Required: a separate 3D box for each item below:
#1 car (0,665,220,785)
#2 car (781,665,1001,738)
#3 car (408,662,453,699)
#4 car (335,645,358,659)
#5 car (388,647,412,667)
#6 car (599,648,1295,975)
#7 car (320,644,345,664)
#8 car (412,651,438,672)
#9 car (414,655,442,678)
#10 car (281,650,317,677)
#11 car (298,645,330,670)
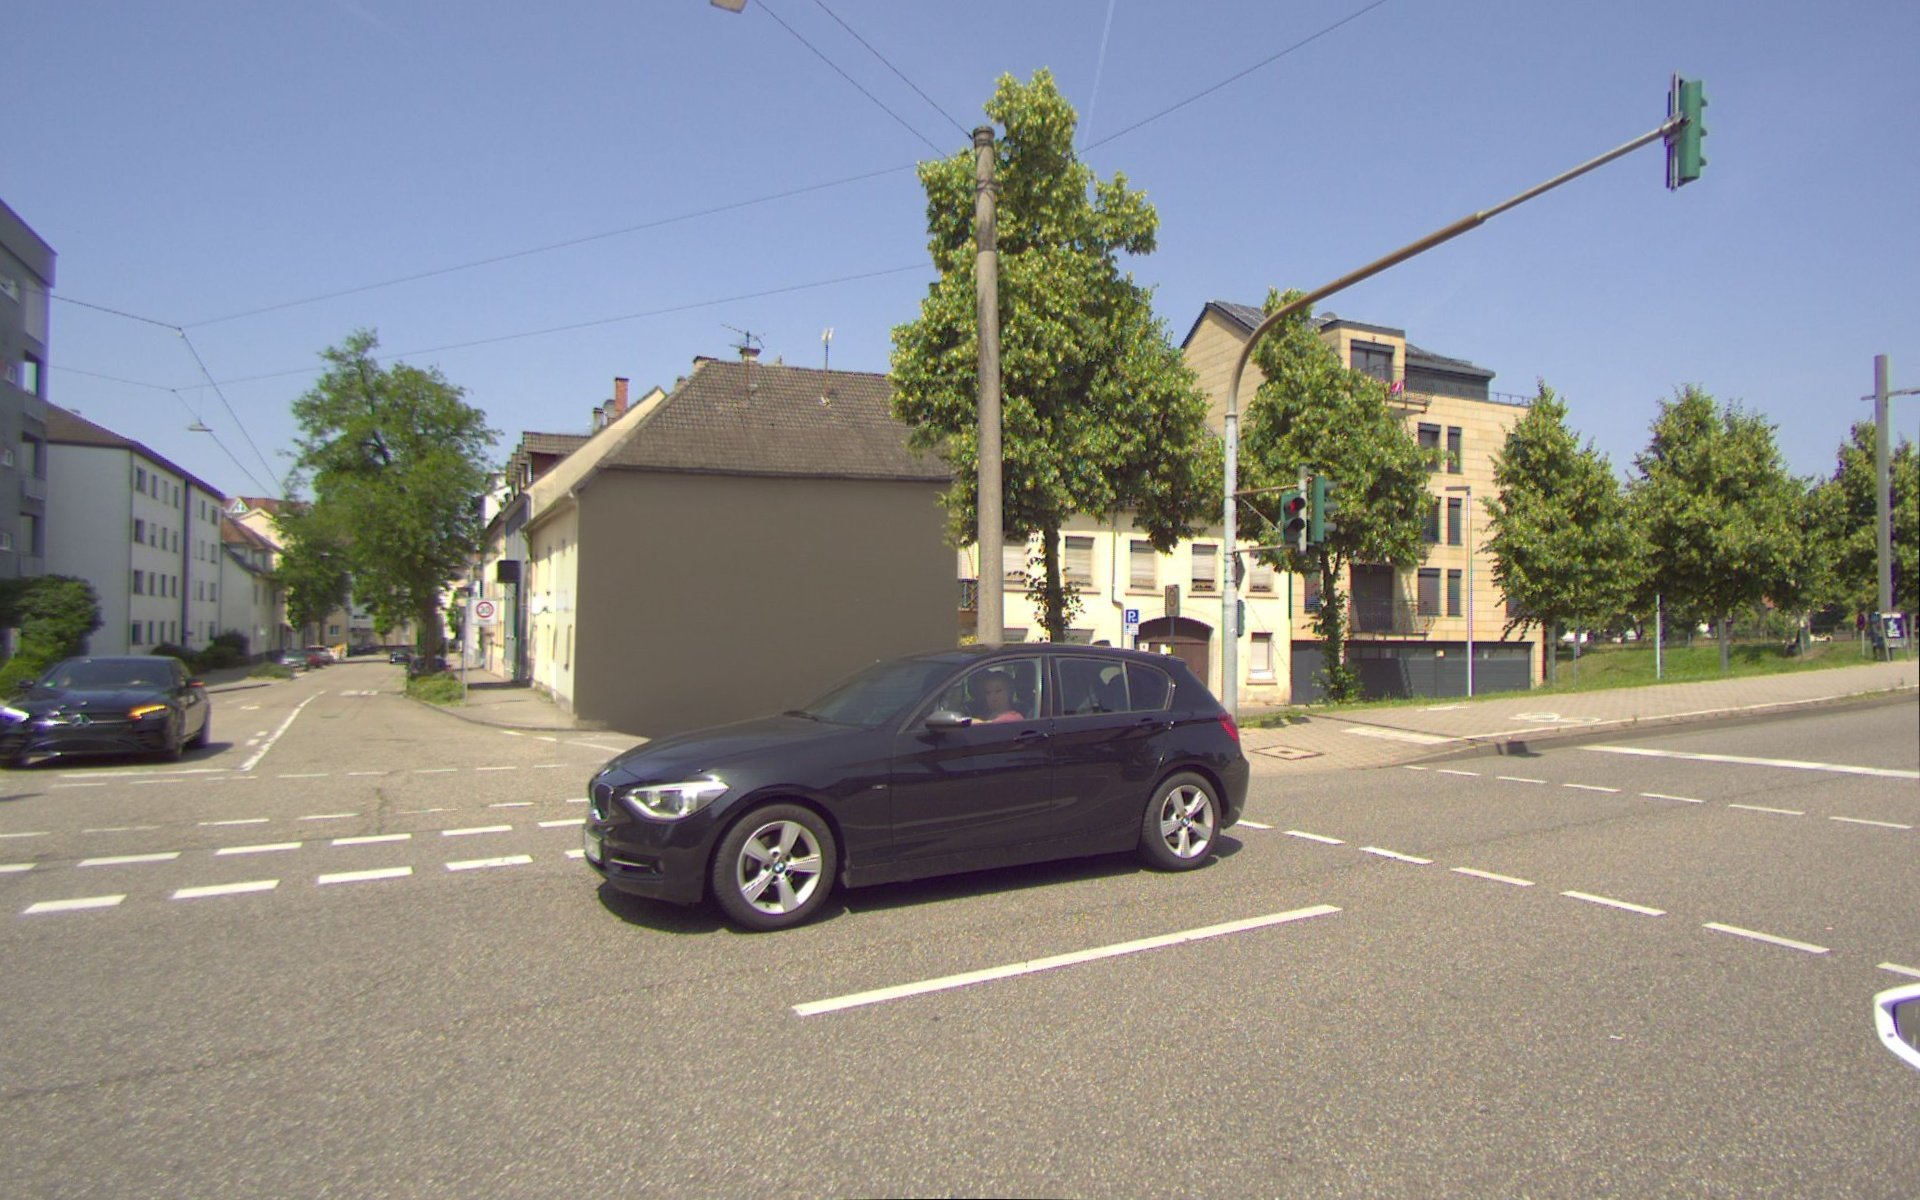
[{"bbox_3d":[-12.219,1.687,14.550,2.094,1.419,4.580,1,-4,-33],"label":"car"},{"bbox_3d":[-1.703,2.472,25.102,5.210,1.649,1.812,1,-4,-23],"label":"car"},{"bbox_3d":[-24.912,3.733,47.242,1.787,1.425,3.970,1,0,-28],"label":"car"},{"bbox_3d":[-65.319,5.515,106.953,1.526,1.400,3.235,1,0,-23],"label":"car"},{"bbox_3d":[-47.396,4.828,85.056,1.692,1.425,4.051,1,0,-28],"label":"car"},{"bbox_3d":[-0.010,1.032,6.308,4.002,1.417,1.828,1,-3,-30],"label":"car"},{"bbox_3d":[-61.057,5.236,97.802,1.526,1.694,3.235,1,0,-23],"label":"car"},{"bbox_3d":[-43.004,4.892,80.727,1.814,1.425,4.297,1,0,-28],"label":"car"},{"bbox_3d":[-39.790,4.924,75.098,1.814,1.425,4.297,1,0,-28],"label":"car"},{"bbox_3d":[-46.466,4.420,70.689,1.526,1.694,3.235,1,0,-23],"label":"car"},{"bbox_3d":[-49.451,4.396,76.945,1.526,1.694,3.235,1,0,-23],"label":"car"}]
